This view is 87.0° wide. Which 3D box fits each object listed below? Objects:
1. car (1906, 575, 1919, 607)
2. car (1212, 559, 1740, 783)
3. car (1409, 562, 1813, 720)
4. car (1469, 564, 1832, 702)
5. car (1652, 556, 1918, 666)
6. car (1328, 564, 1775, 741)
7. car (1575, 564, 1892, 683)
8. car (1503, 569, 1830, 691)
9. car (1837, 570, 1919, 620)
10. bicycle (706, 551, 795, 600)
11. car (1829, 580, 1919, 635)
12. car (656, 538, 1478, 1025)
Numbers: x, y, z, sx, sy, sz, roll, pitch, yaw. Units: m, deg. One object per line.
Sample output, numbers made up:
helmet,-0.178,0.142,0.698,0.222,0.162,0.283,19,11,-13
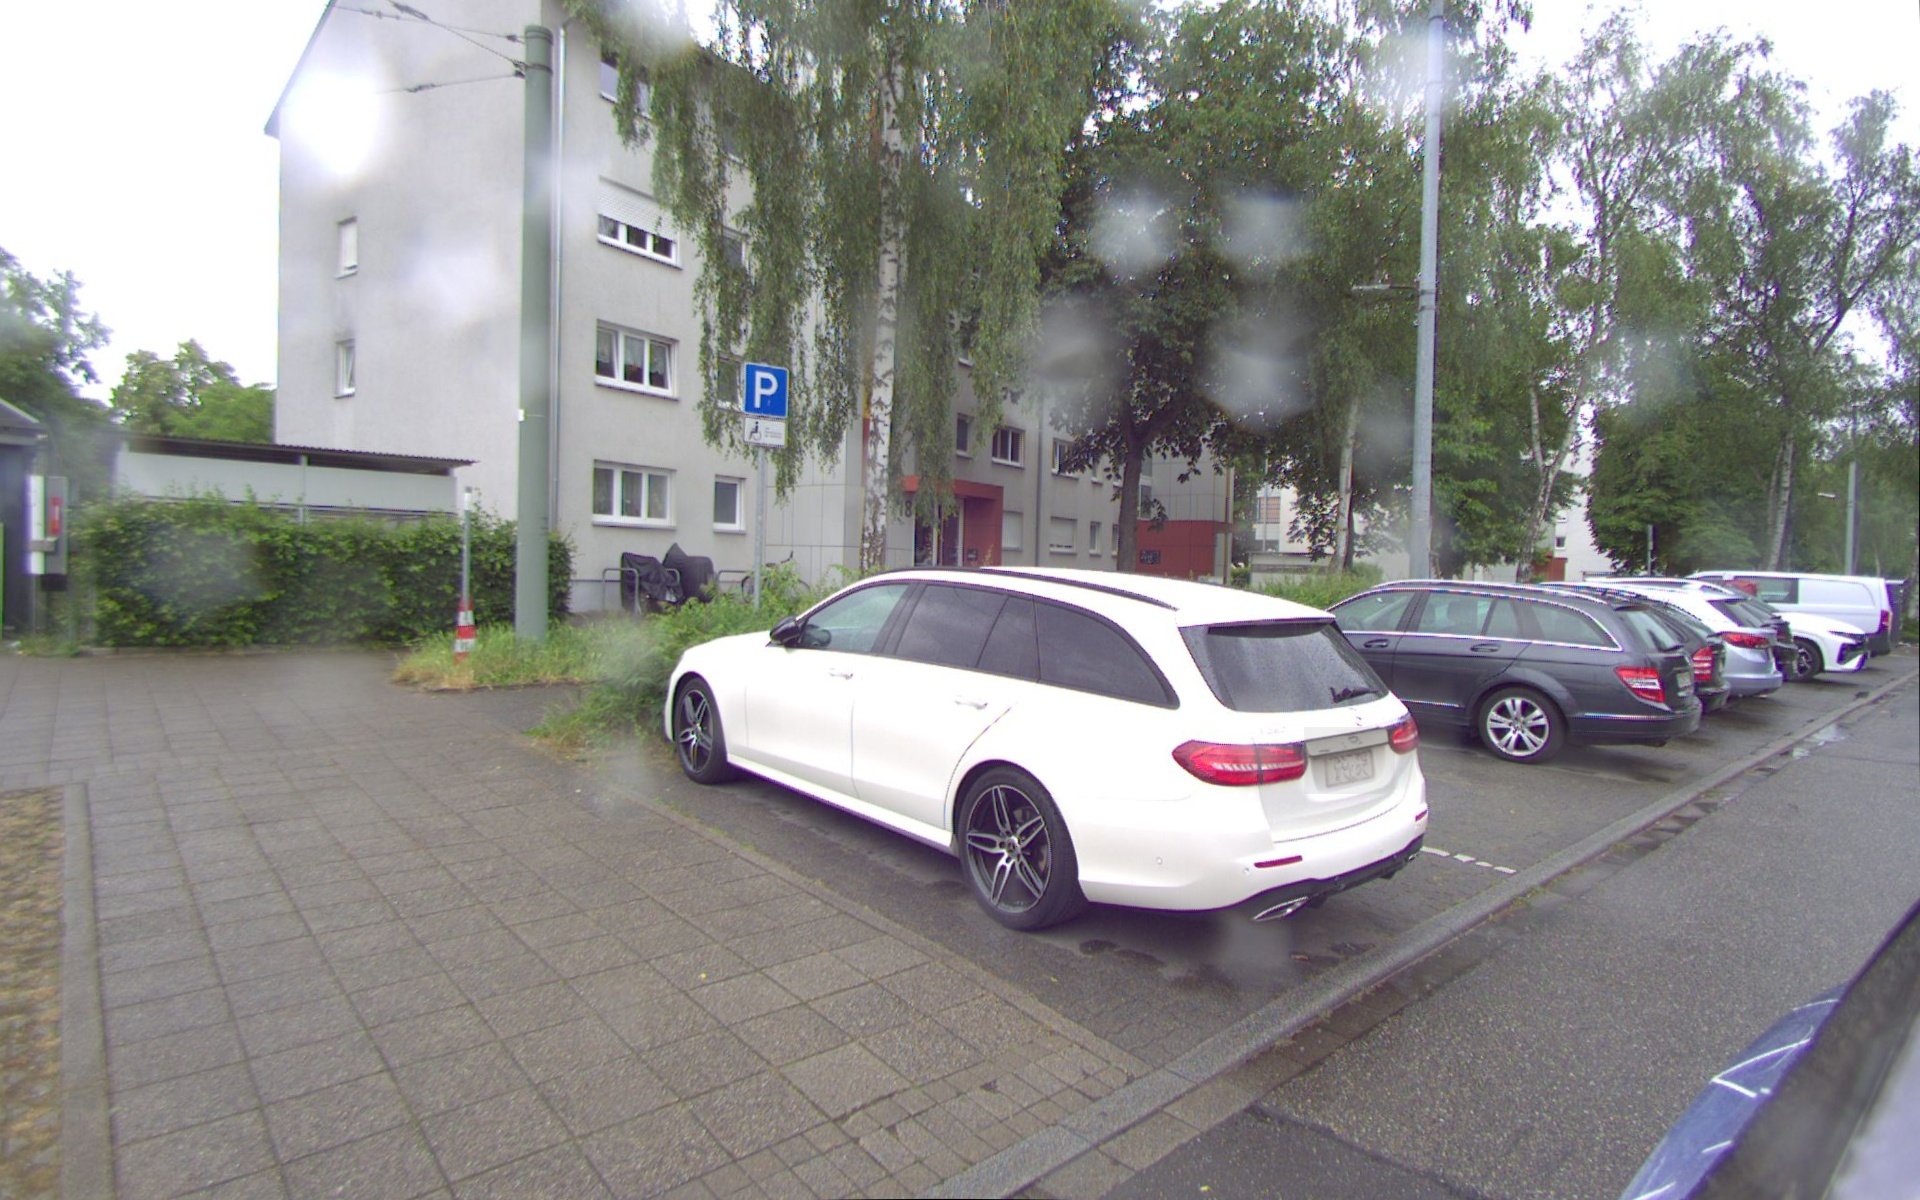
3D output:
car,53.218,-0.479,53.823,1.866,1.701,3.998,-1,1,-36
car,4.600,0.451,9.494,1.653,1.456,4.044,-1,5,-43
car,8.206,0.381,13.043,1.653,1.514,4.044,-1,5,-43
car,9.869,0.352,14.705,1.653,1.514,4.044,-1,5,-43
car,17.545,0.144,21.674,4.172,1.888,1.654,7,6,43
car,6.542,0.430,11.542,1.653,1.456,4.044,-1,5,-43
car,13.707,0.312,18.164,1.651,1.637,4.181,0,5,-40
car,11.290,0.369,16.389,1.653,1.514,4.044,-1,5,-43
car,37.795,-0.200,40.324,1.866,1.937,3.998,-1,1,-36
bicycle,-4.521,-0.523,21.974,0.701,1.005,1.918,0,0,37
car,34.465,0.262,36.844,1.866,1.937,3.998,-1,1,-36
car,0.086,0.486,5.607,1.651,1.456,4.623,-1,5,-41
